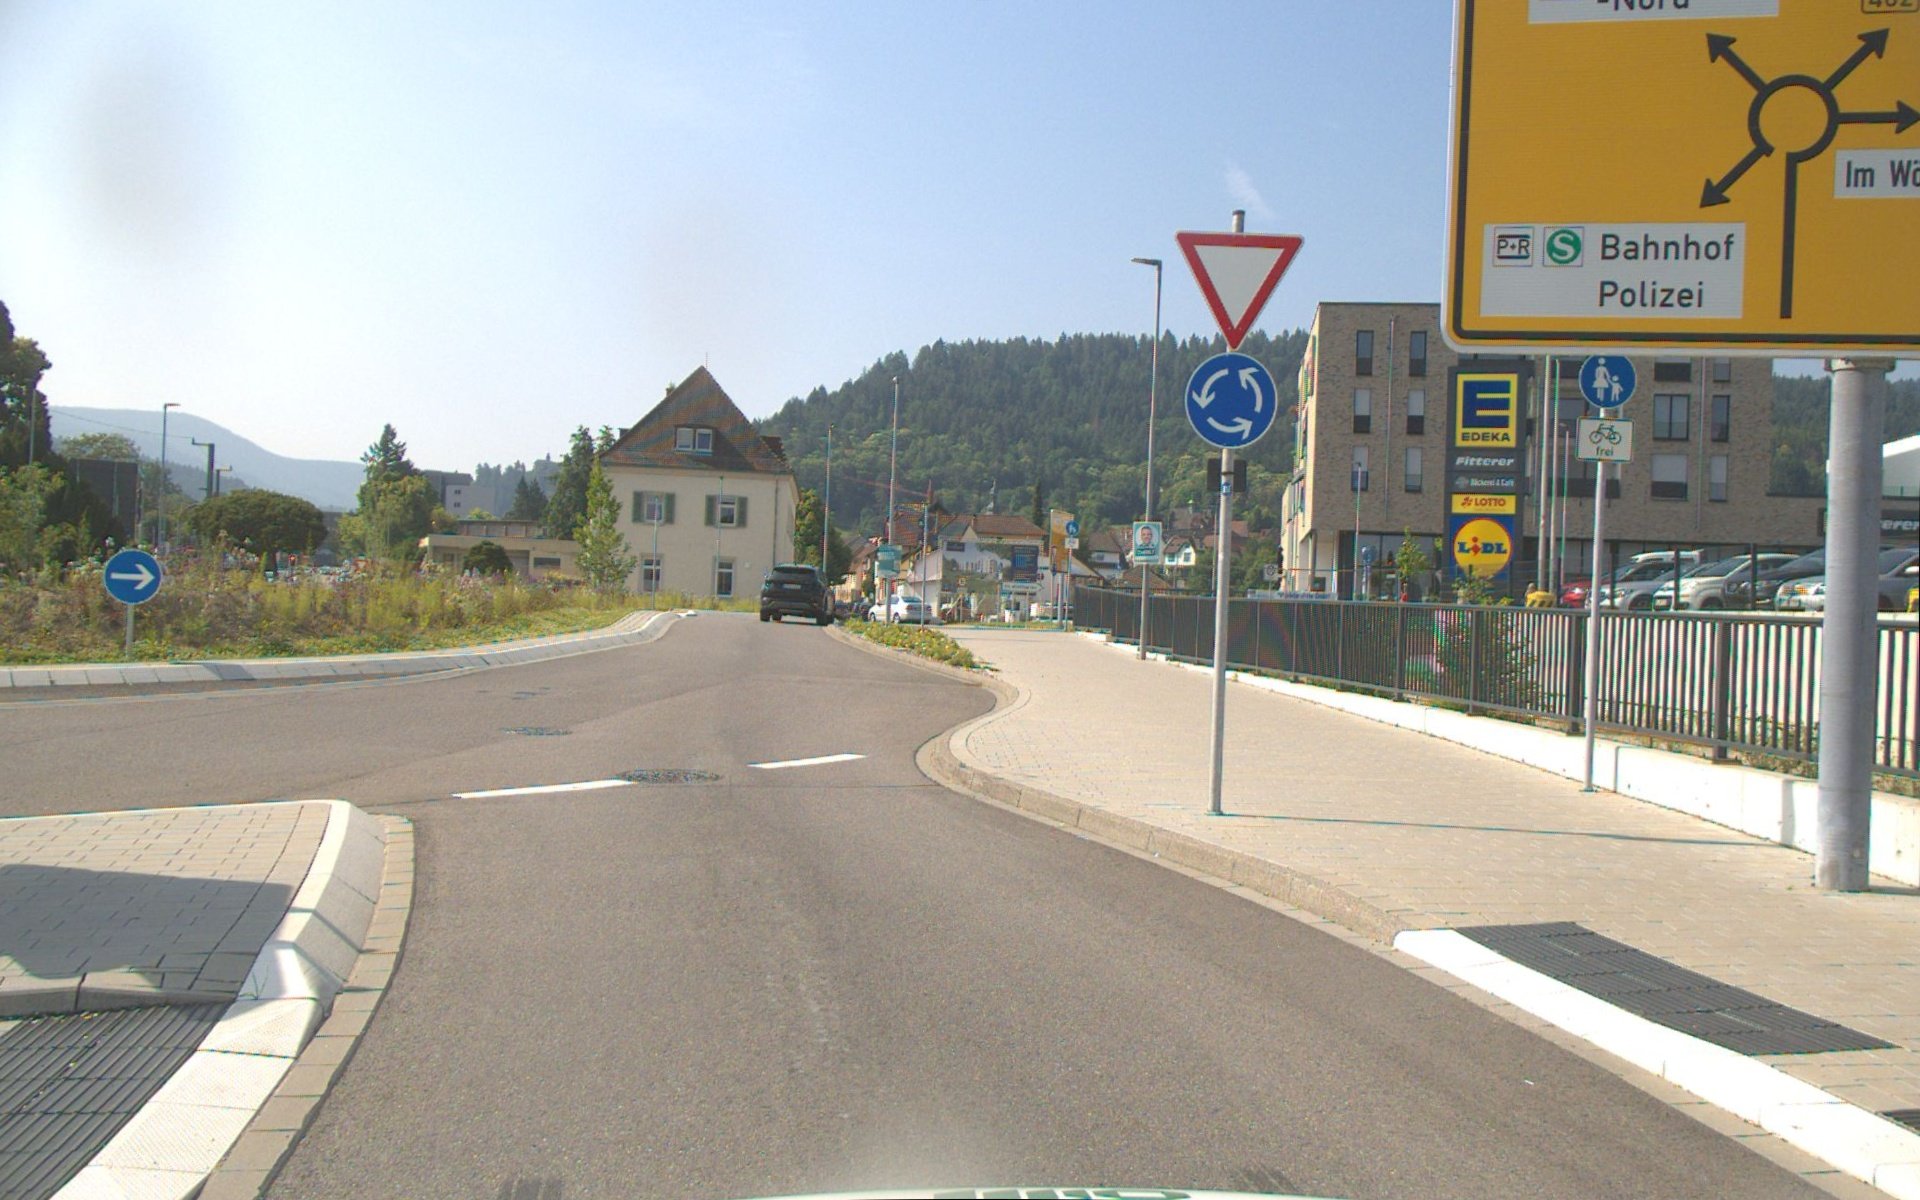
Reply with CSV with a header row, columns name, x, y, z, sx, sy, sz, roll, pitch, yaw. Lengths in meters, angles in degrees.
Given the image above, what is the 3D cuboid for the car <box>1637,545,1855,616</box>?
name,x,y,z,sx,sy,sz,roll,pitch,yaw
car,15.513,-0.367,32.735,3.486,1.220,1.713,2,0,-5

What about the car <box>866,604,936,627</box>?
name,x,y,z,sx,sy,sz,roll,pitch,yaw
car,-2.742,0.712,77.008,3.219,0.981,1.342,1,-2,41

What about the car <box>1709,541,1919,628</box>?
name,x,y,z,sx,sy,sz,roll,pitch,yaw
car,15.683,-0.256,29.428,3.957,1.366,1.658,2,0,-5

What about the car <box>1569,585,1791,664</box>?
name,x,y,z,sx,sy,sz,roll,pitch,yaw
car,15.394,0.513,35.483,3.975,1.513,1.716,2,0,-2

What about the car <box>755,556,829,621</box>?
name,x,y,z,sx,sy,sz,roll,pitch,yaw
car,-4.783,-0.295,47.498,1.843,1.713,3.997,2,-1,-3

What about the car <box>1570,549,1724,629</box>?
name,x,y,z,sx,sy,sz,roll,pitch,yaw
car,19.865,-0.311,48.002,3.903,2.173,2.001,1,-1,17

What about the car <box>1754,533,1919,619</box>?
name,x,y,z,sx,sy,sz,roll,pitch,yaw
car,15.470,-0.337,27.048,4.195,1.267,1.662,2,0,-5

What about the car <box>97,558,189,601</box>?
name,x,y,z,sx,sy,sz,roll,pitch,yaw
car,-24.538,-0.607,49.749,1.361,1.192,3.240,2,0,-6

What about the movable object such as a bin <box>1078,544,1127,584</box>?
name,x,y,z,sx,sy,sz,roll,pitch,yaw
movable object such as a bin,7.142,-1.795,83.185,2.392,1.876,1.429,1,-1,4

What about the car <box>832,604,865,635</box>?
name,x,y,z,sx,sy,sz,roll,pitch,yaw
car,-7.855,1.377,116.356,1.956,2.049,3.993,2,-1,-8

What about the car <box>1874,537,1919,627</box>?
name,x,y,z,sx,sy,sz,roll,pitch,yaw
car,15.611,-0.182,23.901,3.889,1.267,1.728,2,0,-5

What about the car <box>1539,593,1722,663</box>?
name,x,y,z,sx,sy,sz,roll,pitch,yaw
car,15.374,0.632,38.007,3.486,1.455,1.709,2,0,-5
